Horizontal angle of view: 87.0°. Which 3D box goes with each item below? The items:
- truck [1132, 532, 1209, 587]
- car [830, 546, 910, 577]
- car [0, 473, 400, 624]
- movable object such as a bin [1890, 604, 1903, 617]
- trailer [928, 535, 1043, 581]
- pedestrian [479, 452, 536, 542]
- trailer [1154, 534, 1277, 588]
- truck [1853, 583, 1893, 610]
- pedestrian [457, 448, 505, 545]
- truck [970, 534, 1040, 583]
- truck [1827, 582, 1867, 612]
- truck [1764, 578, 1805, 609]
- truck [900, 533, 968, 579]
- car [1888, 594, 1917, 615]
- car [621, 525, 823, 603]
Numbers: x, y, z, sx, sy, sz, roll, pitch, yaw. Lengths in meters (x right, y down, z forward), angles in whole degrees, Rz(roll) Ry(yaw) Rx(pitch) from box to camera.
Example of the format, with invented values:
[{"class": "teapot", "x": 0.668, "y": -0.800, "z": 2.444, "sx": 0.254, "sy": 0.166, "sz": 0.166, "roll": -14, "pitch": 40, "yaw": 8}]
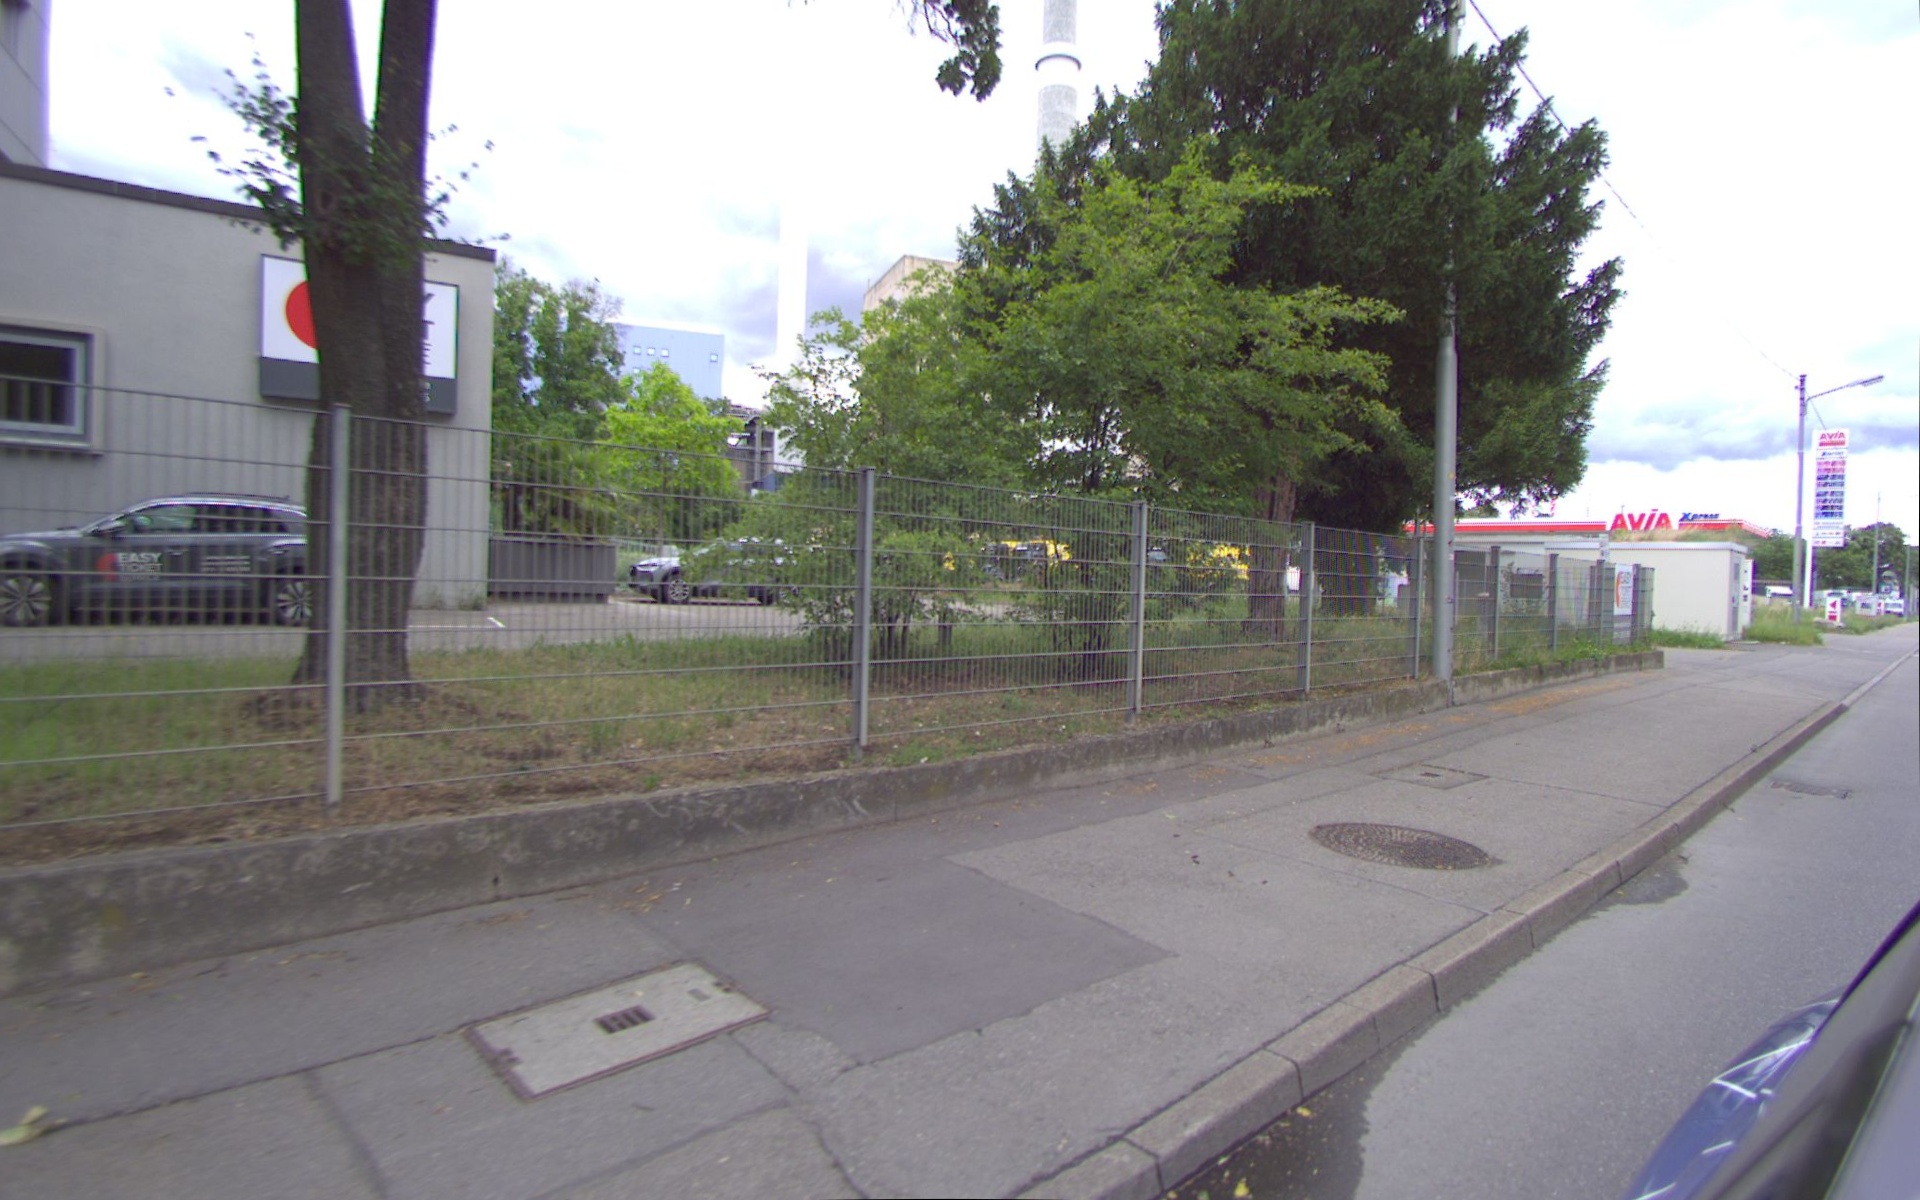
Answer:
[{"class": "truck", "x": 16.203, "y": -3.109, "z": 77.837, "sx": 2.958, "sy": 3.963, "sz": 5.944, "roll": 4, "pitch": 2, "yaw": 44}, {"class": "car", "x": -5.378, "y": -2.284, "z": 60.616, "sx": 1.963, "sy": 1.665, "sz": 4.578, "roll": 4, "pitch": 3, "yaw": 45}, {"class": "car", "x": -9.547, "y": -0.620, "z": 12.661, "sx": 4.353, "sy": 1.585, "sz": 2.003, "roll": 2, "pitch": 4, "yaw": -31}, {"class": "movable object such as a bin", "x": 80.271, "y": 0.878, "z": 86.746, "sx": 0.713, "sy": 1.095, "sz": 0.653, "roll": 3, "pitch": 1, "yaw": 39}, {"class": "trailer", "x": 2.688, "y": -3.969, "z": 98.465, "sx": 2.692, "sy": 3.963, "sz": 13.469, "roll": 3, "pitch": 2, "yaw": 44}, {"class": "pedestrian", "x": -9.415, "y": -2.127, "z": 21.102, "sx": 0.781, "sy": 1.774, "sz": 0.922, "roll": 2, "pitch": 2, "yaw": -4}, {"class": "trailer", "x": 21.157, "y": -3.092, "z": 82.935, "sx": 3.001, "sy": 3.963, "sz": 14.072, "roll": 4, "pitch": 2, "yaw": 44}, {"class": "truck", "x": 131.372, "y": -0.482, "z": 145.674, "sx": 2.852, "sy": 3.675, "sz": 6.683, "roll": 4, "pitch": 2, "yaw": 30}, {"class": "pedestrian", "x": -10.604, "y": -2.263, "z": 22.406, "sx": 0.901, "sy": 2.038, "sz": 0.798, "roll": 1, "pitch": 2, "yaw": -26}, {"class": "truck", "x": 3.944, "y": -3.597, "z": 88.324, "sx": 2.692, "sy": 3.963, "sz": 5.944, "roll": 3, "pitch": 2, "yaw": 44}, {"class": "truck", "x": 126.761, "y": -0.421, "z": 144.693, "sx": 2.852, "sy": 4.063, "sz": 6.683, "roll": 4, "pitch": 2, "yaw": 30}, {"class": "truck", "x": 116.095, "y": -0.932, "z": 142.577, "sx": 2.846, "sy": 4.145, "sz": 6.697, "roll": 3, "pitch": 2, "yaw": 26}, {"class": "truck", "x": -2.351, "y": -4.004, "z": 93.294, "sx": 2.692, "sy": 3.963, "sz": 5.944, "roll": 3, "pitch": 2, "yaw": 44}, {"class": "car", "x": 113.133, "y": 0.548, "z": 121.431, "sx": 5.980, "sy": 2.445, "sz": 2.089, "roll": 1, "pitch": 1, "yaw": -43}, {"class": "car", "x": -5.756, "y": -0.857, "z": 24.538, "sx": 4.351, "sy": 1.632, "sz": 2.003, "roll": 2, "pitch": 2, "yaw": -29}]
